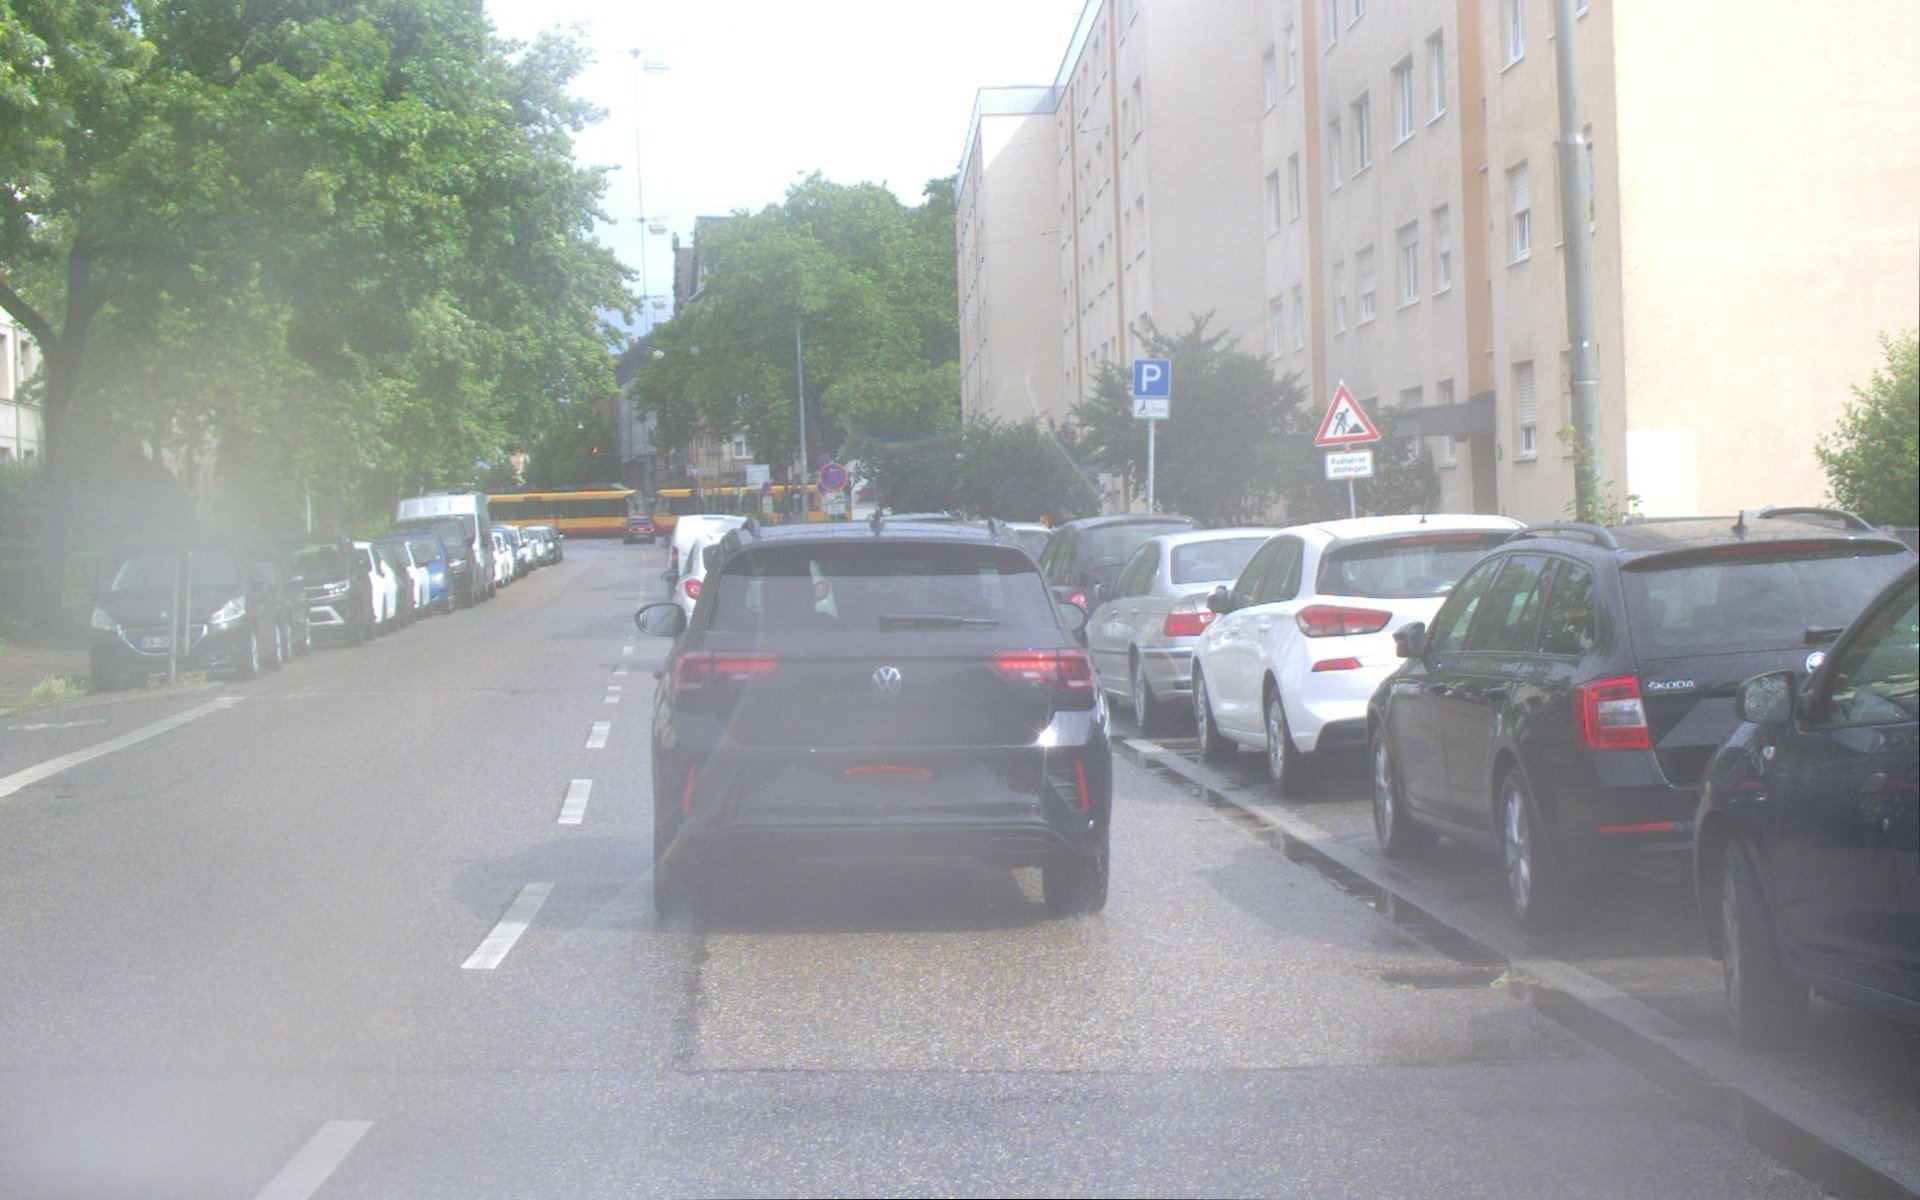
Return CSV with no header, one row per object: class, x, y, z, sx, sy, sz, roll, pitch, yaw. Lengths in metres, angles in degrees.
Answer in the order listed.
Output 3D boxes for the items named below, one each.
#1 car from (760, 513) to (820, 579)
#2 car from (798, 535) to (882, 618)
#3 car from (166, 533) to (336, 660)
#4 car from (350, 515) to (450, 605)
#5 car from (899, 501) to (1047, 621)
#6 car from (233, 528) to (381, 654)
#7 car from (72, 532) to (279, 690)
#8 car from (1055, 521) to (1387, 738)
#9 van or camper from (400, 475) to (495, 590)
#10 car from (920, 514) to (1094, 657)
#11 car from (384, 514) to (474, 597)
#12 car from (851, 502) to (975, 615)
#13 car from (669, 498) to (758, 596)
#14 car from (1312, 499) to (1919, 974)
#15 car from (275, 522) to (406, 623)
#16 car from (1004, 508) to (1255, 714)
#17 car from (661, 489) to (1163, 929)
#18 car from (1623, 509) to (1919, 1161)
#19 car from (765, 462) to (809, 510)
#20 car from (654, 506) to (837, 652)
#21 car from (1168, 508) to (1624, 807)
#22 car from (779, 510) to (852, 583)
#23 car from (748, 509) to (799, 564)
car,-5.034,-1.614,101.305,1.665,1.831,4.001,-2,2,-3
car,-2.751,-0.558,77.978,1.604,1.759,4.033,-3,2,-5
car,-8.739,-0.078,42.639,1.585,1.413,4.054,-3,2,-6
car,-10.853,-0.801,66.819,1.585,1.633,3.921,-3,2,-6
car,0.140,-0.563,47.495,1.604,1.500,4.033,-3,2,-5
car,-8.951,-0.158,47.361,1.585,1.570,4.015,-3,2,-6
car,-8.294,0.066,36.621,1.585,1.500,4.065,-3,2,-6
car,1.817,0.150,25.232,1.716,1.447,4.260,0,1,-6
van or camper,-11.819,-1.566,79.565,1.802,2.485,5.022,-3,2,-6
car,0.509,-0.213,40.977,1.695,1.533,4.033,-3,2,-4
car,-11.174,-0.958,72.478,1.585,1.633,3.921,-3,2,-6
car,-0.785,-0.688,54.854,1.604,1.666,4.033,-3,2,-5
car,-5.420,-1.151,75.958,1.836,2.095,4.000,0,1,-2
car,2.579,0.419,13.651,1.604,1.503,4.161,-4,1,-3
car,-9.415,-0.451,52.446,1.585,1.413,3.921,-3,2,-6
car,1.411,0.033,30.055,1.604,1.655,4.033,0,2,-6
car,-0.226,0.366,14.875,1.873,1.640,4.062,0,1,-1
car,3.077,0.514,8.638,1.756,1.522,4.001,-3,1,-4
car,-7.006,-4.591,138.933,1.665,1.831,4.001,-2,2,-3
car,-2.286,-0.239,37.450,1.813,1.498,4.000,0,1,-1
car,2.386,0.256,19.845,1.748,1.503,4.113,-1,1,-5
car,-3.721,-1.383,87.980,1.604,1.759,4.033,-3,2,-5
car,-6.539,-2.250,120.249,1.665,1.831,4.001,-2,2,-3
